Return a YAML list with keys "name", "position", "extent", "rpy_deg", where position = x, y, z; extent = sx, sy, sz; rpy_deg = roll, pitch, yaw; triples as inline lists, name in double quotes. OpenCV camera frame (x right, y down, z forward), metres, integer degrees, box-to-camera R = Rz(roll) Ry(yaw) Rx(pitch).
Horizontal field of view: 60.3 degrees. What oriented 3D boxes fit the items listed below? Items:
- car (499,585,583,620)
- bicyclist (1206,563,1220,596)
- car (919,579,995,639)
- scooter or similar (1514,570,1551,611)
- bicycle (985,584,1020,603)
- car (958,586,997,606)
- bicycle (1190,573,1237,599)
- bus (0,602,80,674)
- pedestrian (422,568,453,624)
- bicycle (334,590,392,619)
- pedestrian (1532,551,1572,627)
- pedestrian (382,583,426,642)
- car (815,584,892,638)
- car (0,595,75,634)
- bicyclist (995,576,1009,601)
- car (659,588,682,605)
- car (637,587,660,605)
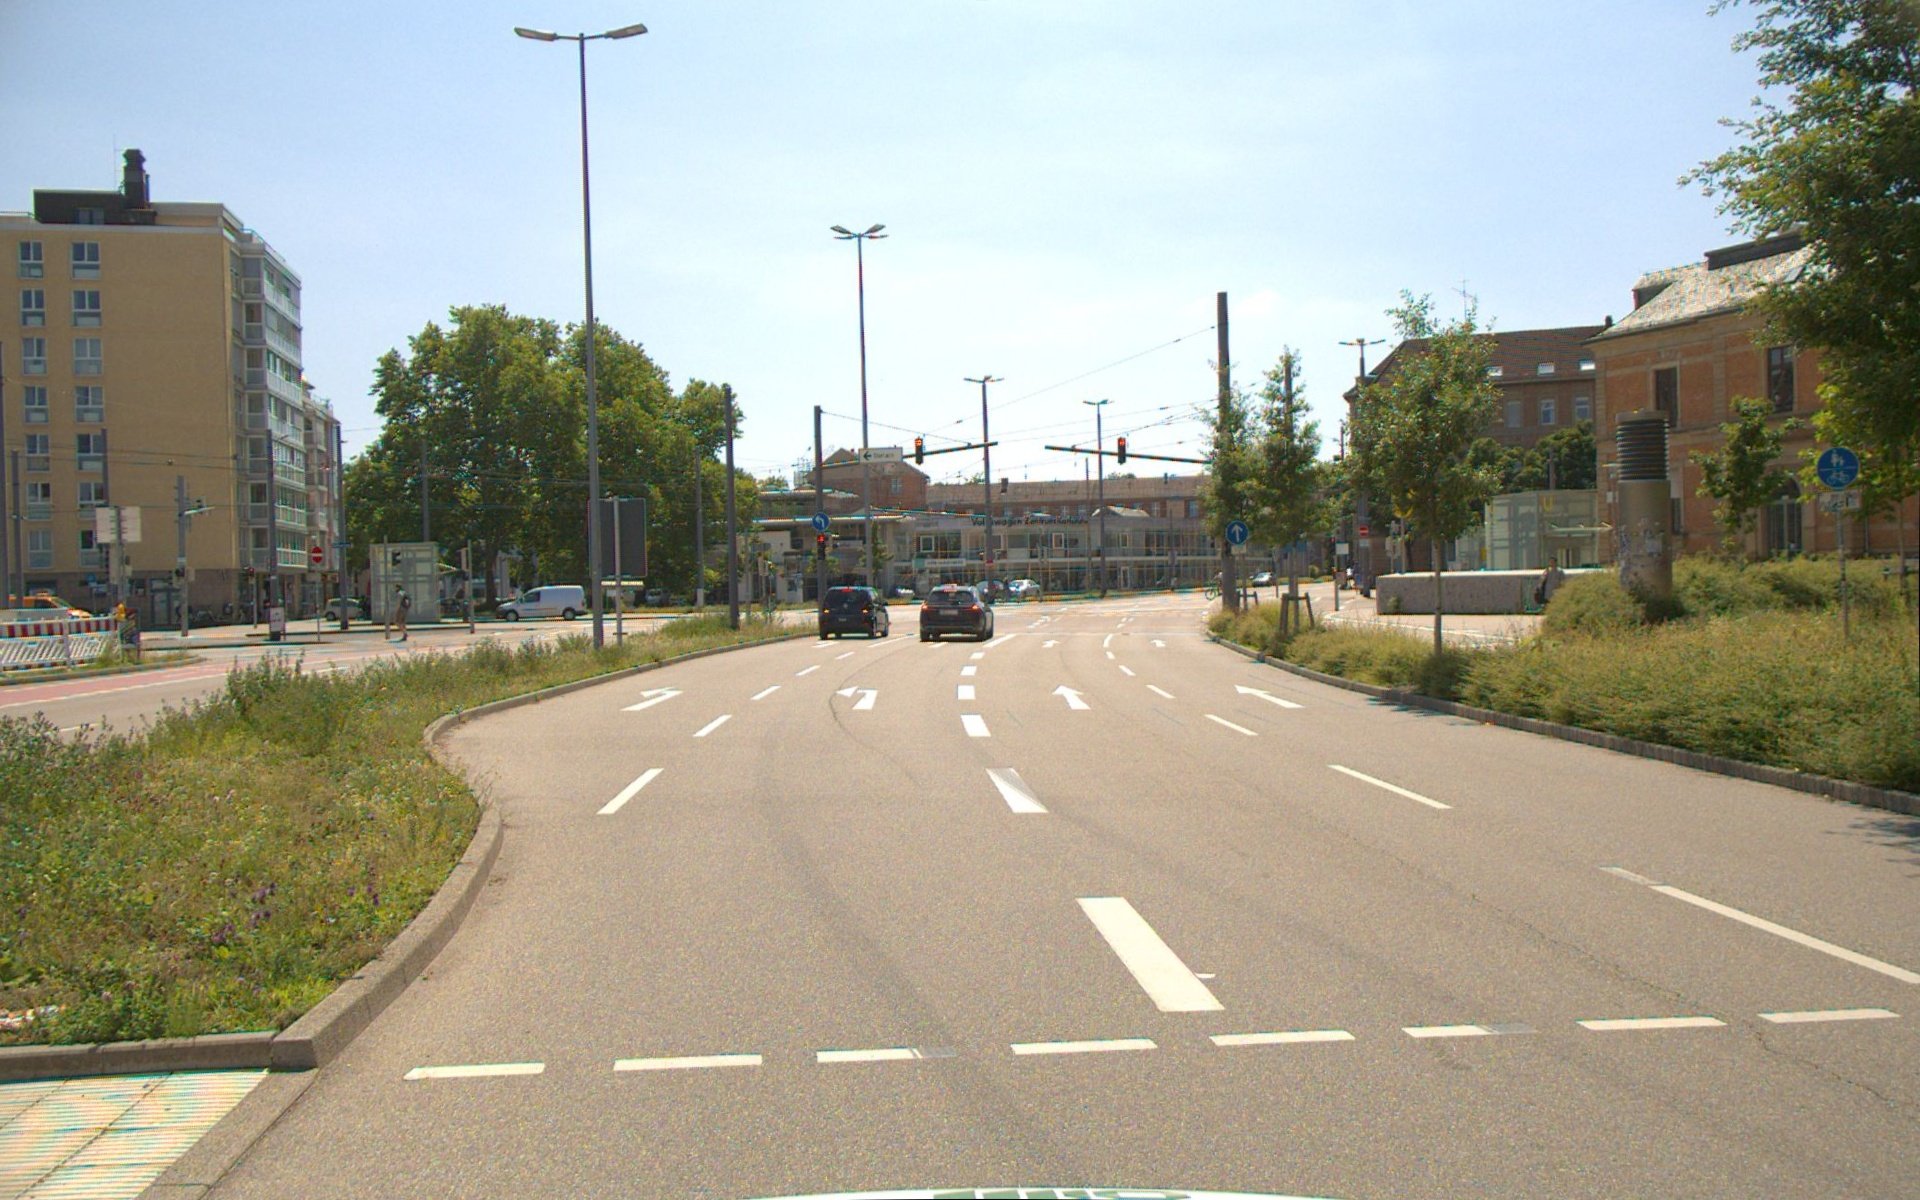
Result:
- name: "car"
  position: [-22.270, 0.118, 88.004]
  extent: [4.233, 1.655, 1.808]
  rpy_deg: [-2, 3, -14]
- name: "bicyclist"
  position: [15.336, -1.226, 100.218]
  extent: [0.747, 1.971, 0.660]
  rpy_deg: [-1, 2, 4]
- name: "car"
  position: [-0.047, 0.208, 47.077]
  extent: [1.680, 1.584, 4.590]
  rpy_deg: [-1, 0, 6]
- name: "scooter or similar"
  position: [17.342, -0.299, 50.093]
  extent: [0.390, 1.187, 1.284]
  rpy_deg: [-2, 3, -16]
- name: "bicycle"
  position: [2.684, -0.411, 104.413]
  extent: [2.123, 1.126, 0.455]
  rpy_deg: [-1, 2, -12]
- name: "car"
  position: [1.244, -0.293, 117.093]
  extent: [1.507, 1.300, 3.539]
  rpy_deg: [0, 3, 23]
- name: "bicycle"
  position: [15.371, -0.851, 100.241]
  extent: [2.766, 1.488, 0.634]
  rpy_deg: [-1, 2, 4]
- name: "bus"
  position: [-19.547, 0.823, 32.702]
  extent: [1.218, 1.271, 5.821]
  rpy_deg: [-1, 3, -1]
- name: "pedestrian"
  position: [-28.736, -0.241, 90.984]
  extent: [1.188, 2.988, 1.337]
  rpy_deg: [-1, 2, 3]
- name: "bicycle"
  position: [-37.275, 0.255, 103.307]
  extent: [3.295, 1.623, 0.807]
  rpy_deg: [-4, 4, -41]
- name: "pedestrian"
  position: [13.780, -0.268, 38.518]
  extent: [0.716, 1.735, 0.811]
  rpy_deg: [-1, 1, 7]
- name: "pedestrian"
  position: [-19.204, 0.419, 57.169]
  extent: [1.155, 1.966, 0.902]
  rpy_deg: [-1, 2, -1]
- name: "car"
  position: [-3.070, 0.283, 48.370]
  extent: [1.587, 1.489, 4.003]
  rpy_deg: [-1, 1, 6]
- name: "car"
  position: [-42.811, 0.673, 74.811]
  extent: [4.537, 1.641, 1.673]
  rpy_deg: [-1, 3, -9]
- name: "bicyclist"
  position: [2.661, -0.725, 104.402]
  extent: [0.719, 1.505, 0.654]
  rpy_deg: [-1, 2, -13]
- name: "car"
  position: [-26.442, -0.330, 151.103]
  extent: [1.479, 1.443, 3.422]
  rpy_deg: [-1, 3, 0]
- name: "car"
  position: [-28.556, -0.387, 151.837]
  extent: [1.395, 1.534, 3.439]
  rpy_deg: [-1, 3, 0]
